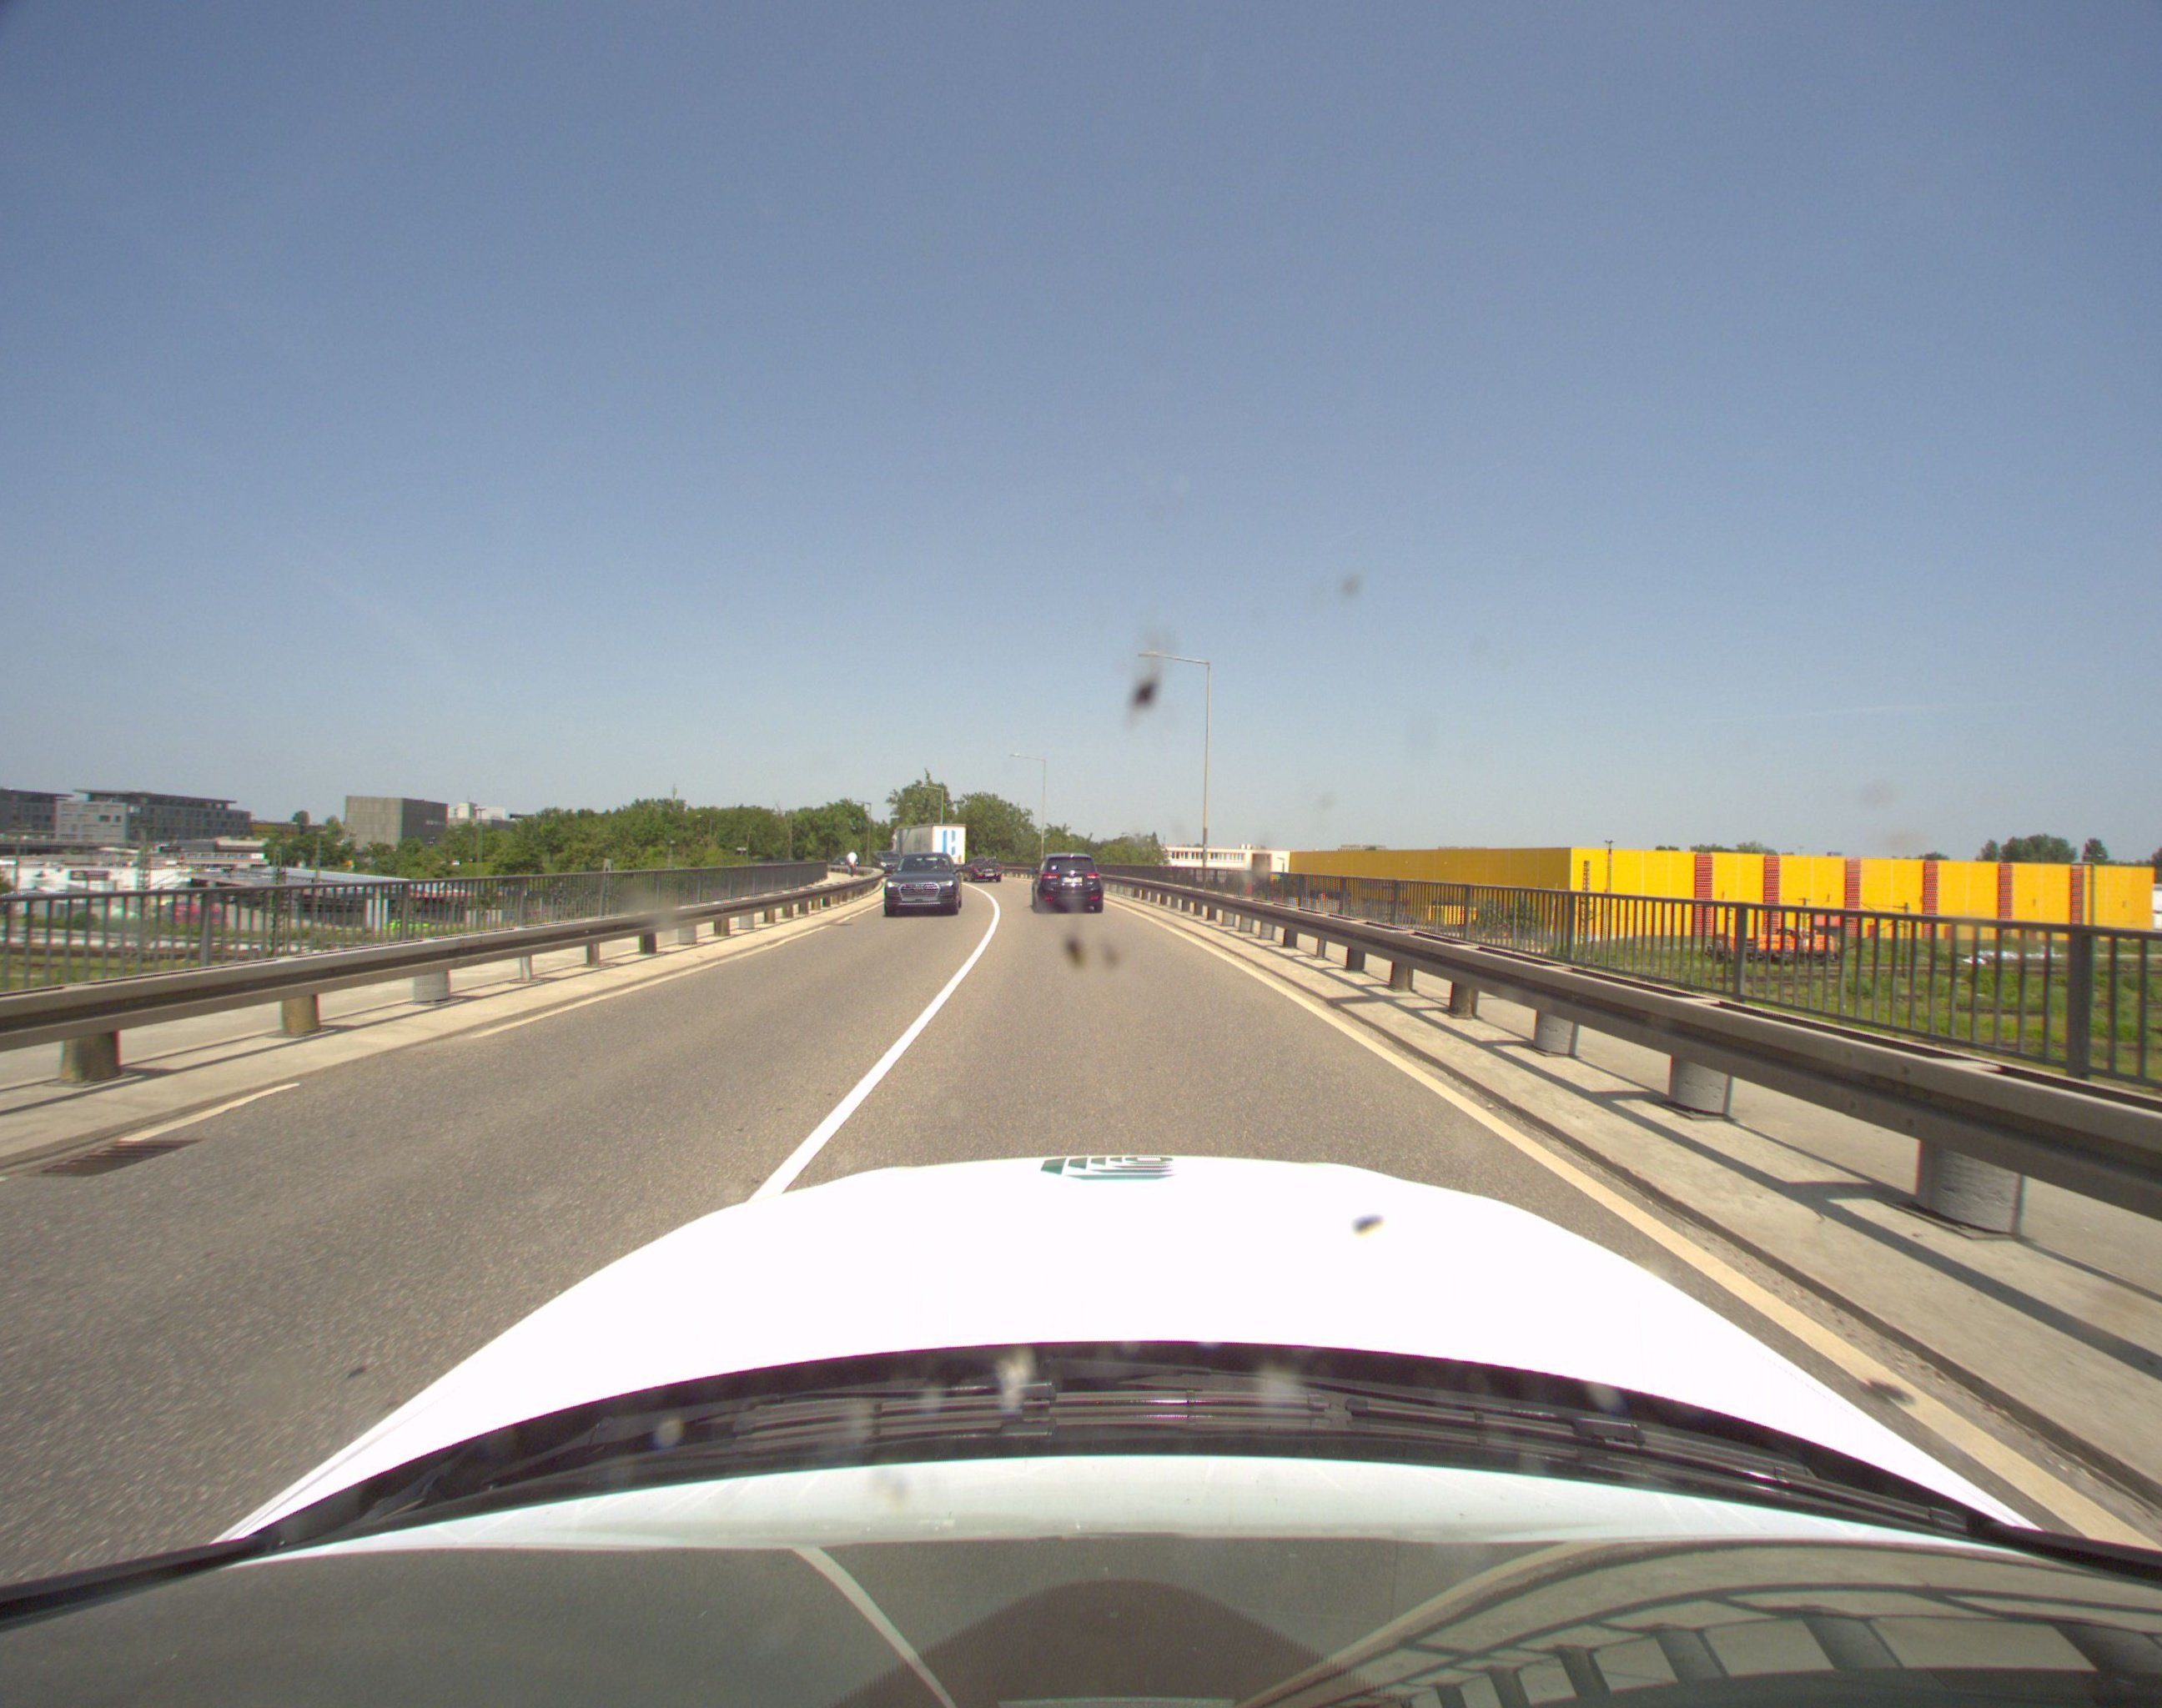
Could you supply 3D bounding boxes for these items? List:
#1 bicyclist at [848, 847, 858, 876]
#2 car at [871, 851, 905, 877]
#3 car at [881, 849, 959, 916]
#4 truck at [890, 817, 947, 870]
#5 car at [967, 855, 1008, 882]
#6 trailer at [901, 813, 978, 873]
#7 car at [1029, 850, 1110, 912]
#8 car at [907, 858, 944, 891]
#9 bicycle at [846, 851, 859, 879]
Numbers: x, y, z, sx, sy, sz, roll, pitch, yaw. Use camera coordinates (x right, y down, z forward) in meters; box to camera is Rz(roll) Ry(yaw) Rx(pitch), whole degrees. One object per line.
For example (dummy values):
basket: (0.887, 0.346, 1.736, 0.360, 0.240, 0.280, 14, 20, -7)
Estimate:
bicyclist: (-14.826, 0.462, 52.955, 0.626, 1.886, 0.708, 0, 0, -20)
car: (-15.209, 0.773, 64.129, 2.014, 1.959, 5.235, 0, -1, -20)
car: (-4.291, 0.687, 22.223, 1.840, 1.636, 4.221, -1, 0, -8)
truck: (-14.609, -0.922, 72.784, 3.589, 4.440, 6.463, 0, 0, -24)
car: (-5.385, 0.795, 46.612, 2.012, 1.429, 3.762, 0, 0, -11)
trailer: (-11.760, -0.862, 66.421, 3.586, 4.384, 11.351, 0, 0, -24)
car: (-0.406, 0.697, 22.969, 1.919, 1.574, 3.883, 0, 0, -6)
car: (-7.492, 0.944, 39.473, 1.664, 1.464, 3.476, 0, 0, -9)
bicycle: (-14.910, 0.701, 53.094, 0.700, 1.801, 2.167, 0, 0, -19)
